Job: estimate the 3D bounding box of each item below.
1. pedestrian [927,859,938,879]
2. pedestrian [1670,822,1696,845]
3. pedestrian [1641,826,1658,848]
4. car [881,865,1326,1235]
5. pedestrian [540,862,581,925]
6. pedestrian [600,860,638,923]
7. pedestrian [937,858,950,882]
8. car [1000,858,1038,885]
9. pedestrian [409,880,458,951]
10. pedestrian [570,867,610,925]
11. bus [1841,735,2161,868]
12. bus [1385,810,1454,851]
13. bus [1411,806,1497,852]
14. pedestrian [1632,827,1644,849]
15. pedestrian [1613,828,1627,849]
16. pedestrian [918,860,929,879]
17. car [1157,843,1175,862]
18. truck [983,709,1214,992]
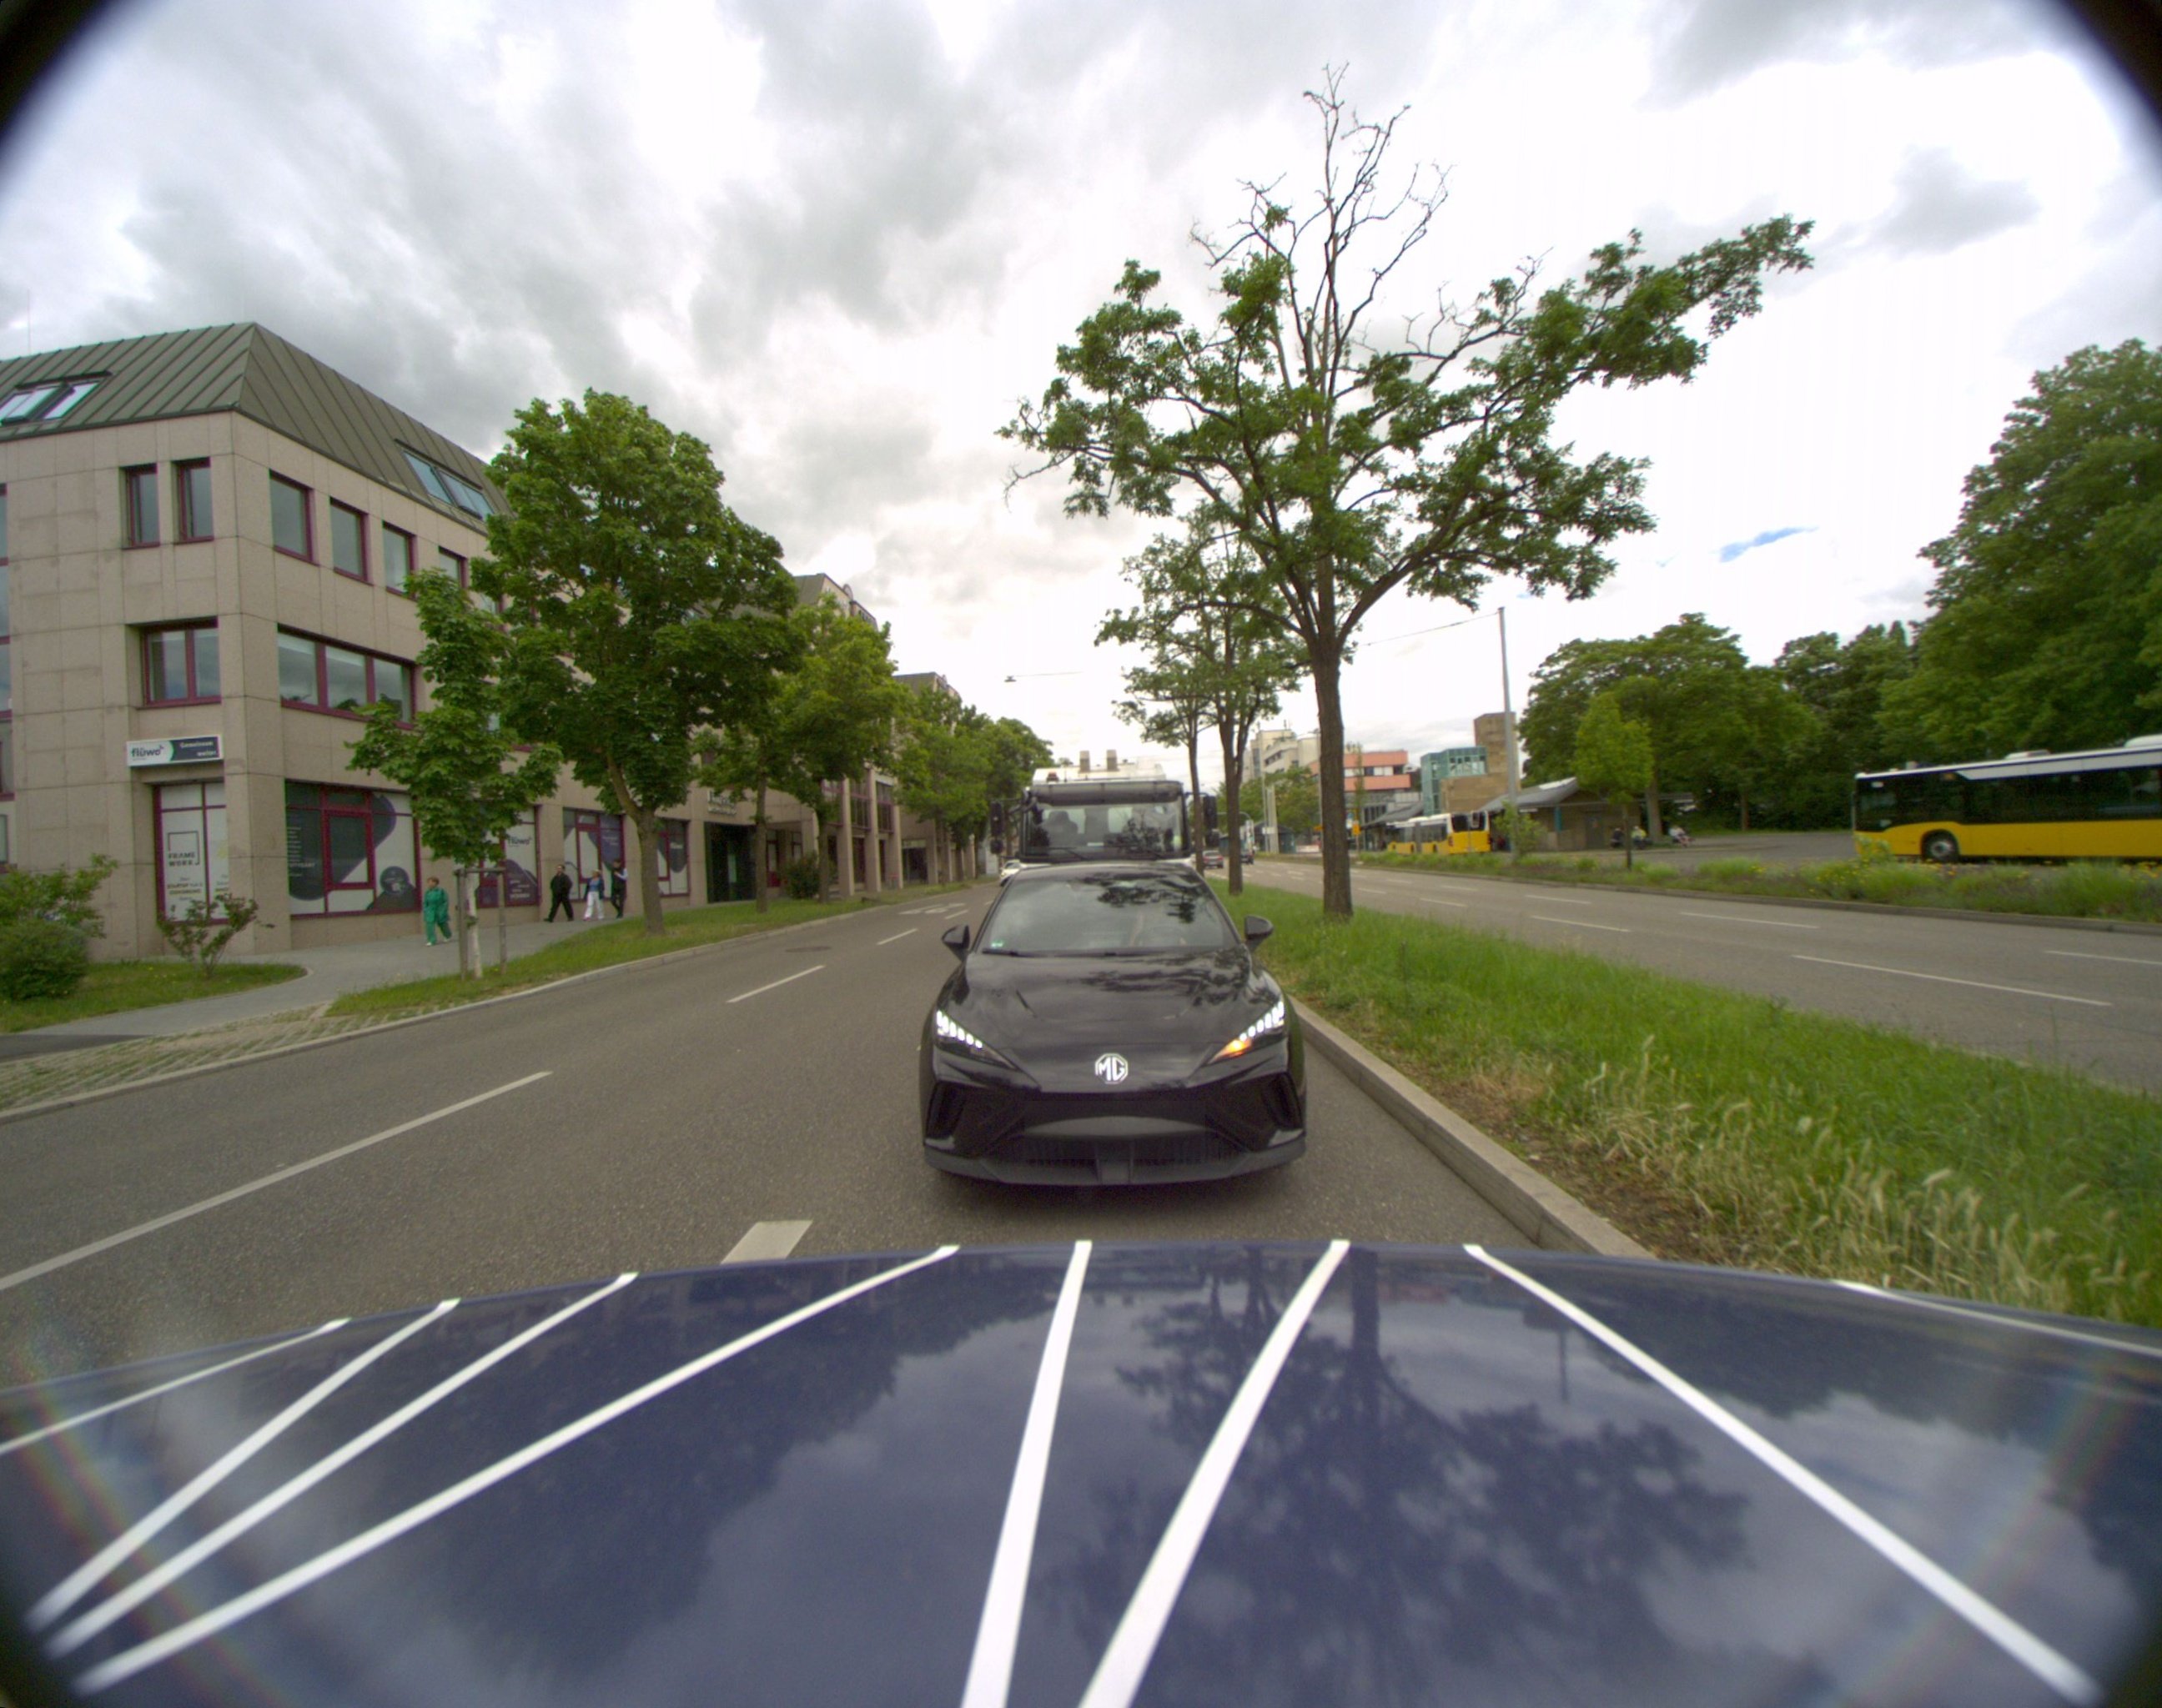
[{"bbox_3d":[-11.060,1.112,56.769,0.607,1.397,0.640,-2,1,3],"label":"pedestrian"},{"bbox_3d":[31.959,-1.081,40.357,0.650,1.165,0.925,-2,1,1],"label":"pedestrian"},{"bbox_3d":[30.676,-0.903,40.979,0.598,1.155,0.744,-2,1,26],"label":"pedestrian"},{"bbox_3d":[0.124,0.868,5.232,1.827,1.430,4.000,-3,0,1],"label":"car"},{"bbox_3d":[-15.366,1.166,22.430,0.642,1.795,0.677,-3,1,1],"label":"pedestrian"},{"bbox_3d":[-13.757,1.102,22.640,0.642,1.795,0.677,-3,1,1],"label":"pedestrian"},{"bbox_3d":[-10.317,1.197,57.023,0.719,1.811,0.949,-2,1,1],"label":"pedestrian"},{"bbox_3d":[-3.579,0.975,44.359,1.657,1.417,3.536,-2,0,5],"label":"car"},{"bbox_3d":[-14.300,1.339,16.791,0.496,1.510,0.677,0,1,1],"label":"pedestrian"},{"bbox_3d":[-14.552,1.239,22.531,0.642,1.637,0.677,-3,1,1],"label":"pedestrian"},{"bbox_3d":[25.894,-1.255,19.620,2.888,2.985,10.397,-3,0,6],"label":"bus"},{"bbox_3d":[27.603,-1.815,62.415,2.887,2.985,9.182,-3,0,10],"label":"bus"},{"bbox_3d":[25.996,-1.652,53.495,2.887,2.793,9.182,-3,0,10],"label":"bus"},{"bbox_3d":[30.243,-0.890,41.285,0.367,1.160,0.899,-2,1,26],"label":"pedestrian"},{"bbox_3d":[30.722,-0.894,43.345,0.598,1.155,0.744,-1,1,33],"label":"pedestrian"},{"bbox_3d":[-11.751,1.140,56.644,0.667,1.397,0.519,-2,1,2],"label":"pedestrian"},{"bbox_3d":[9.450,-0.155,84.909,1.726,2.002,4.001,-3,0,3],"label":"car"},{"bbox_3d":[0.311,-0.043,12.518,2.544,3.187,7.369,-3,0,2],"label":"truck"}]
